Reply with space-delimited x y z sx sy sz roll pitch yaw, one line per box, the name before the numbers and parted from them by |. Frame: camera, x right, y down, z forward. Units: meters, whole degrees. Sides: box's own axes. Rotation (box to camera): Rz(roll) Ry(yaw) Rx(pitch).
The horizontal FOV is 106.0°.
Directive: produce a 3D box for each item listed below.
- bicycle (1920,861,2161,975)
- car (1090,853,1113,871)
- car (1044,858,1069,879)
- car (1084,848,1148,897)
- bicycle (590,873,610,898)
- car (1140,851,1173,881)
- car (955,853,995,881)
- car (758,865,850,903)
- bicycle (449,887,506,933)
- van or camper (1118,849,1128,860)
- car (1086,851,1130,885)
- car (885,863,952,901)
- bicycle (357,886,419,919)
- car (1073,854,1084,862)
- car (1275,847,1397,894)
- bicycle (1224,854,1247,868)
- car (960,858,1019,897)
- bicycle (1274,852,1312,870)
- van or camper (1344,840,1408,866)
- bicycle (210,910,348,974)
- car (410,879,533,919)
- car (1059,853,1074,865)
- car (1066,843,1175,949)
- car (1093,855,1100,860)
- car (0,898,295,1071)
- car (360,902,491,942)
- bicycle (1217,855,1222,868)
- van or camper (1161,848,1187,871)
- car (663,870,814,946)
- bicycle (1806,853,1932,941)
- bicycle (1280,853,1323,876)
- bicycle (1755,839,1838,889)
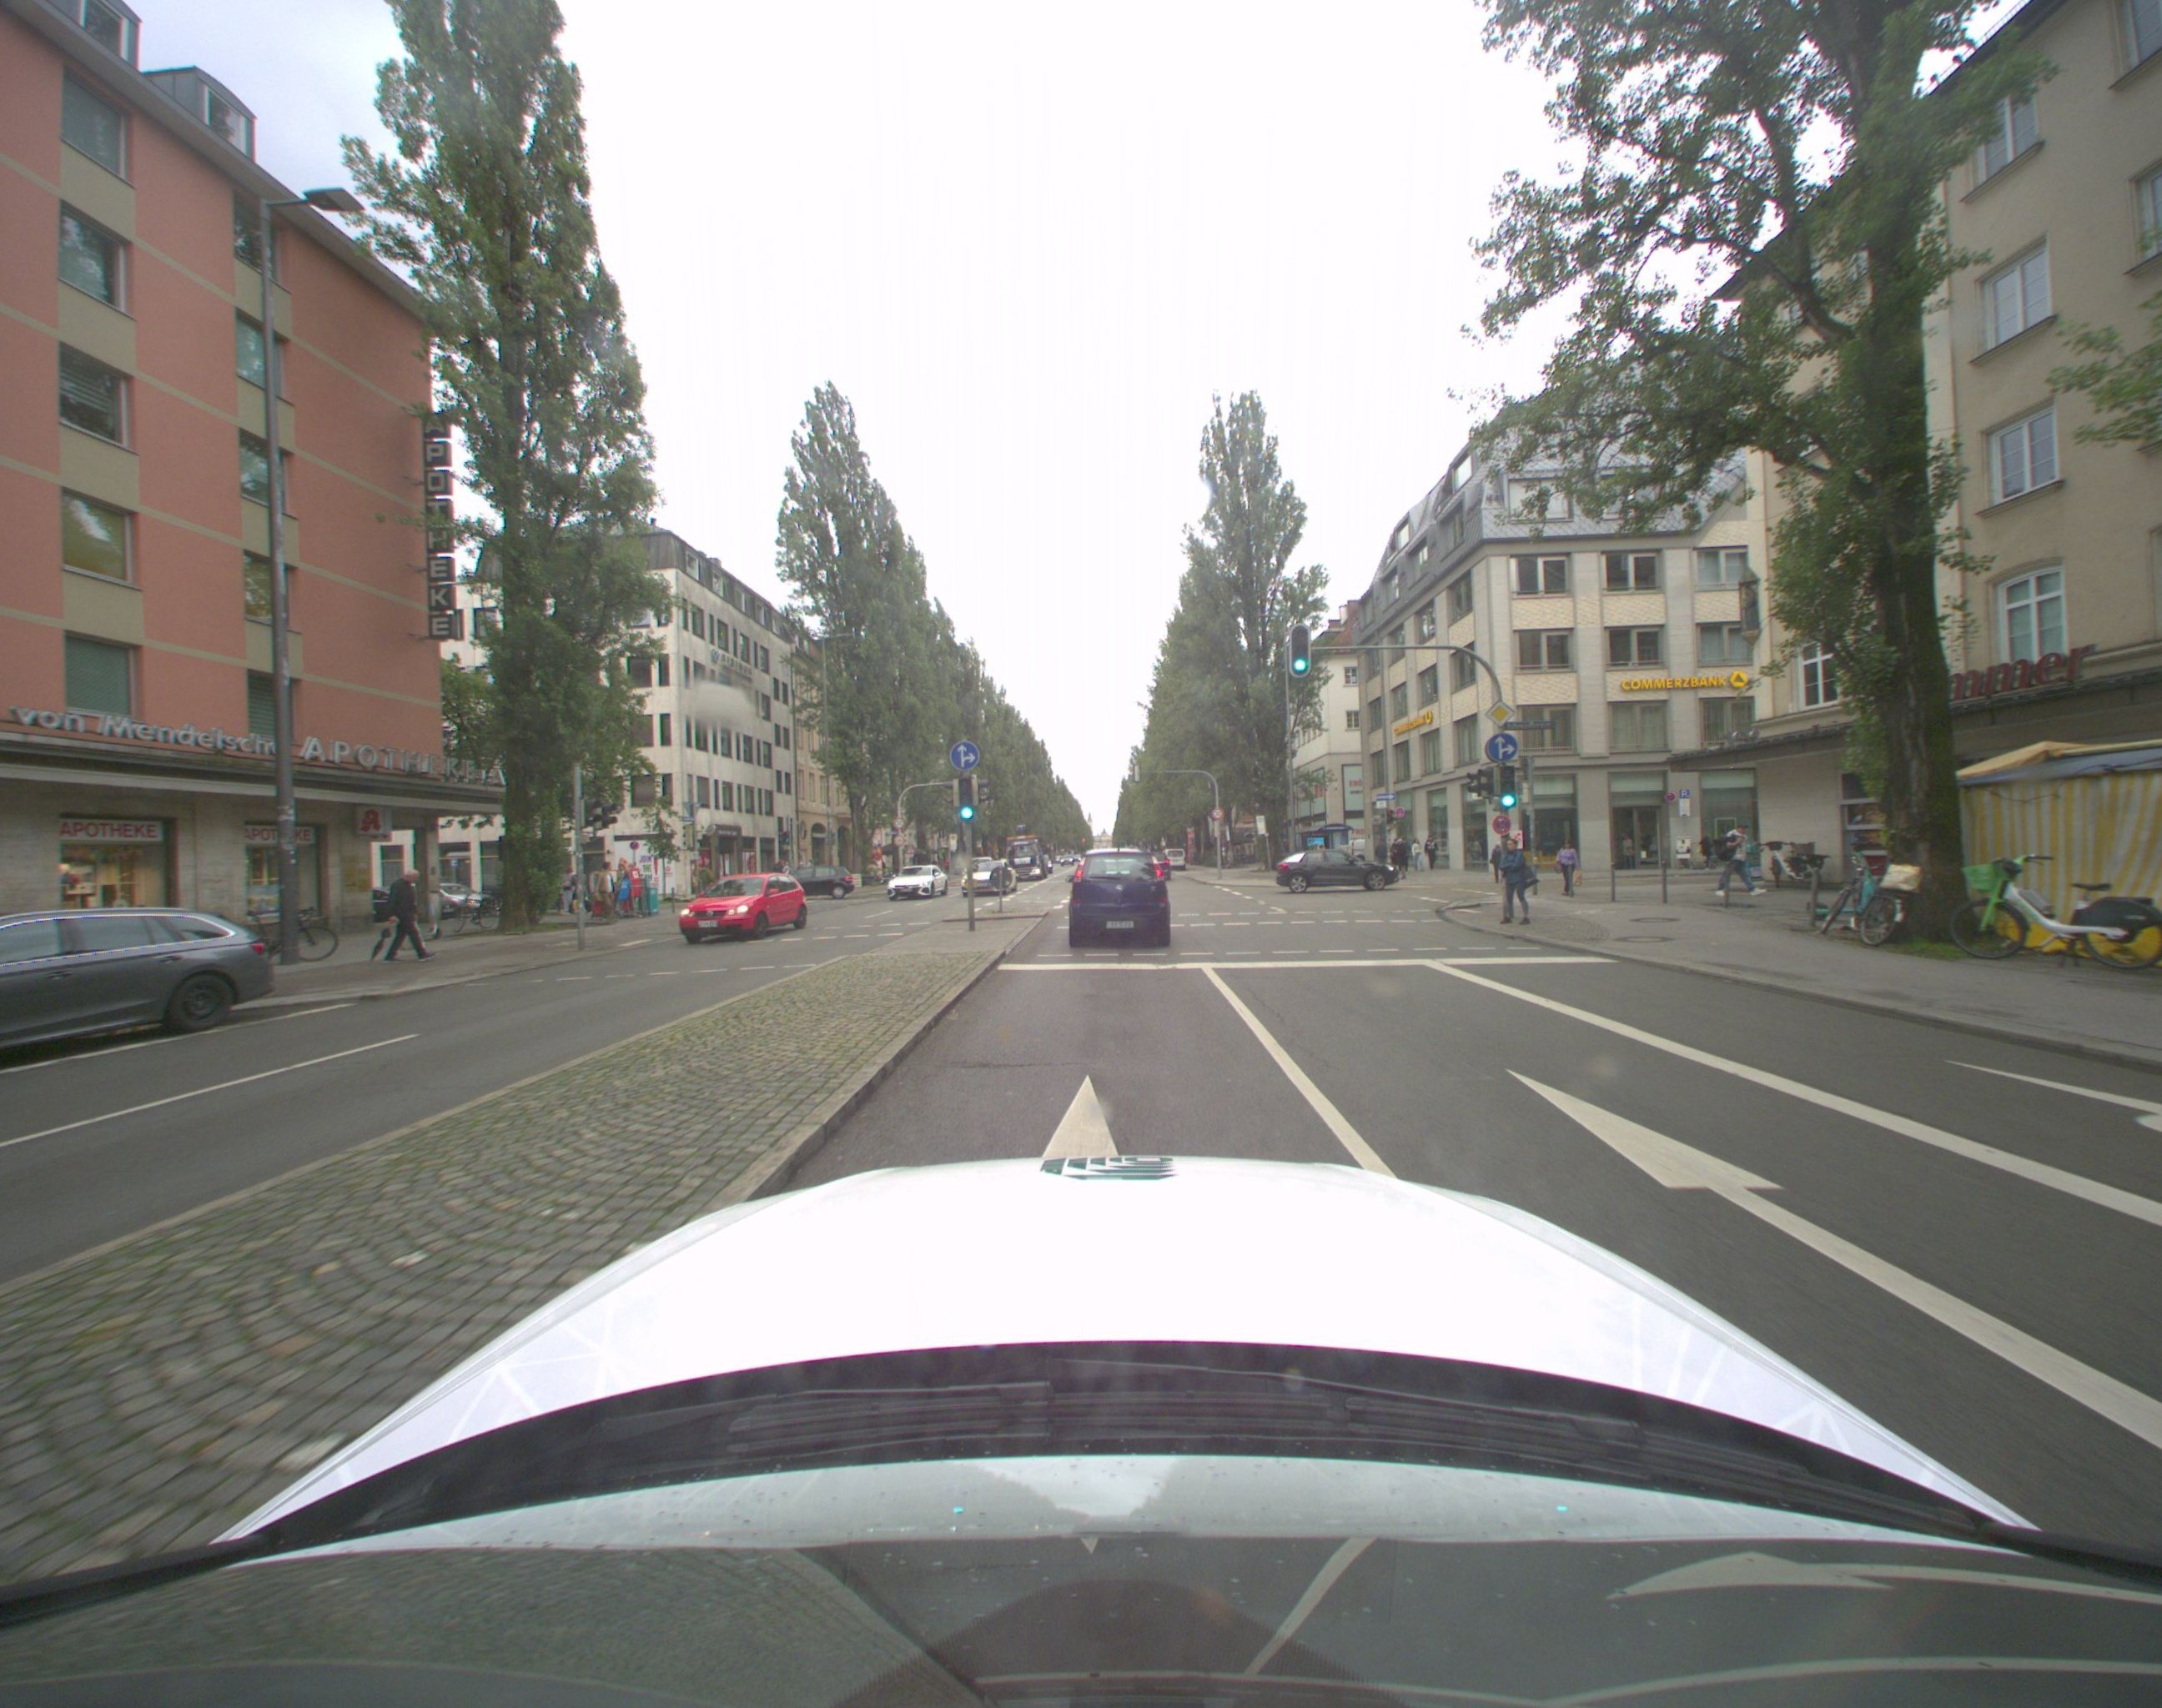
bicycle | 10.105 0.619 8.665 0.507 1.048 1.770 -2 0 0
car | 1.873 0.725 75.910 1.987 1.497 4.000 -2 0 1
car | -2.146 1.255 72.393 1.877 1.746 4.441 -2 0 2
car | 1.155 0.592 28.219 1.987 1.497 4.000 -2 0 1
bicycle | -24.196 1.567 41.008 0.416 1.184 1.996 -2 0 -18
car | 4.400 0.658 47.930 1.699 1.574 4.004 -3 1 3
car | -7.039 0.830 54.439 1.830 1.716 4.638 -3 0 2
car | -12.114 1.287 35.825 3.701 1.475 1.762 -2 0 -18
bicycle | -16.220 1.485 21.918 0.419 1.141 1.374 -2 0 3
van or camper | 10.760 0.142 209.659 2.467 2.581 5.847 -2 0 2
car | 1.291 0.650 39.705 1.987 1.497 4.000 -2 0 1
car | -7.015 1.163 35.577 1.816 1.408 4.634 -3 0 1
bicycle | -25.861 1.822 30.387 2.044 1.184 0.539 -1 -1 9
car | -0.552 0.750 157.443 1.928 1.623 4.337 -2 0 1
car | 8.952 0.568 28.830 3.958 1.461 1.766 -2 0 14
bicycle | 12.457 0.545 65.597 1.757 1.044 0.482 -2 0 -9
car | -3.918 0.963 35.604 1.837 1.501 4.987 -3 0 1
bicycle | 13.035 0.444 50.133 2.140 1.017 0.874 -2 0 1
van or camper | 21.704 -0.053 59.960 4.084 1.867 1.901 -1 -1 5
bicycle | -15.062 1.623 15.364 0.326 0.986 1.822 -2 0 27
car | -25.271 1.859 33.808 3.962 1.420 1.787 -2 0 10
car | -2.147 0.758 121.096 1.906 1.681 4.587 -2 0 1
car | 0.653 0.659 14.827 1.675 1.641 4.000 -1 0 1
car | 4.514 1.055 232.610 1.955 1.399 3.779 -2 0 1
car | -10.685 1.301 7.841 1.697 1.438 4.589 -3 -1 0
car | -25.598 2.639 31.852 3.962 1.420 1.787 -1 -1 10
bicycle | 12.142 0.644 71.338 0.362 1.038 1.735 -2 0 10
van or camper | 8.360 0.475 73.268 1.862 1.883 4.904 -2 0 1
car | -7.781 1.168 18.906 1.730 1.437 3.825 -3 0 2
bicycle | 10.557 0.536 10.978 0.401 1.070 1.819 3 1 17
bicycle | 13.047 0.628 48.158 2.335 1.252 0.633 -2 0 1
bicycle | 17.527 0.246 20.003 0.433 1.170 1.811 -1 -1 0
